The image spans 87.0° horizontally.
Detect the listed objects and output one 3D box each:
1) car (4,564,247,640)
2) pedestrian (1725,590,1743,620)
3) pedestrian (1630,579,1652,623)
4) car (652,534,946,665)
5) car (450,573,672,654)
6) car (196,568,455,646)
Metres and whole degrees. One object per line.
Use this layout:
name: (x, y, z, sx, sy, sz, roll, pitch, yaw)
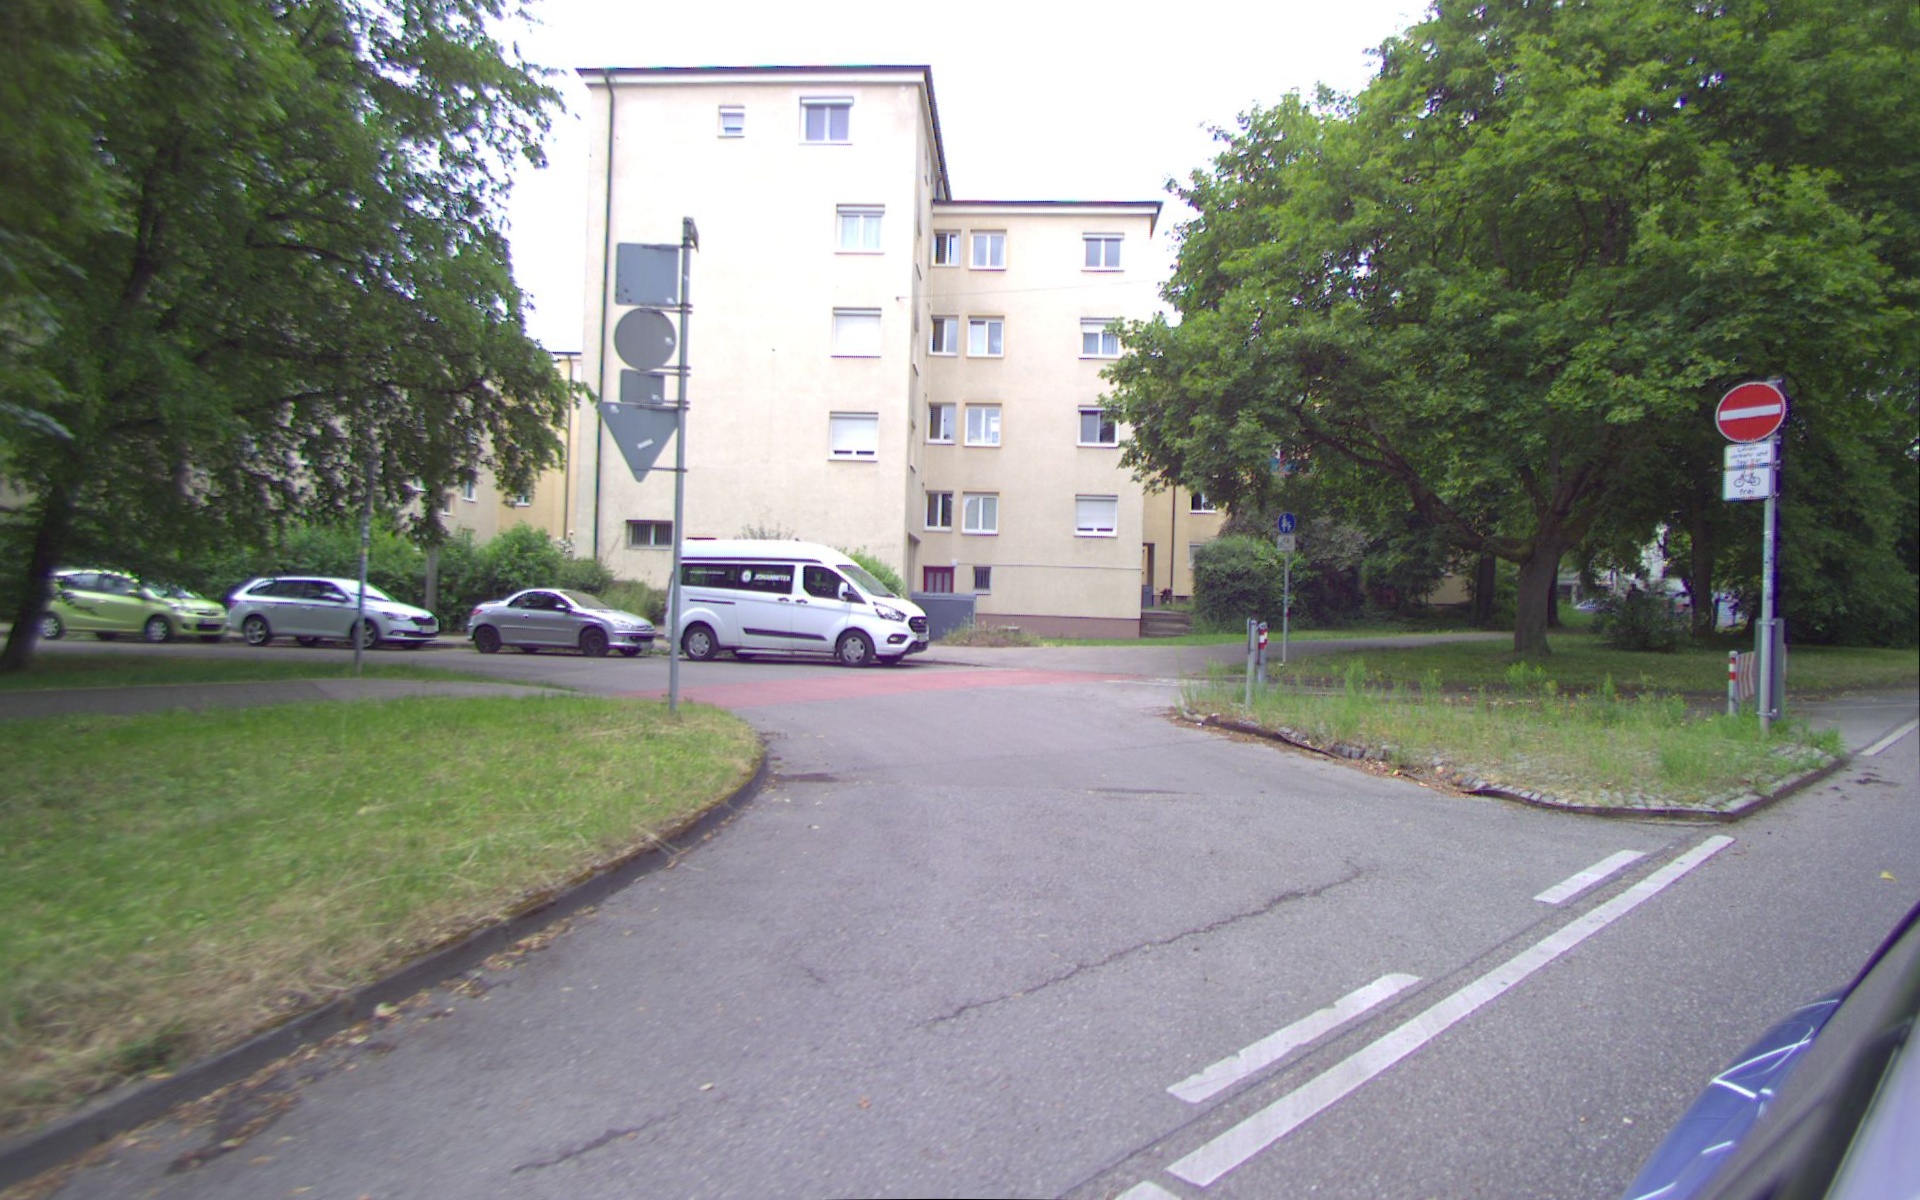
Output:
car: (-18.178, 0.027, 22.158, 3.927, 1.529, 1.799, 1, 0, 3)
pedestrian: (37.448, 0.231, 48.982, 0.647, 1.435, 0.641, 1, 1, 39)
pedestrian: (26.474, 0.040, 39.325, 0.647, 1.682, 0.641, 1, 1, 39)
car: (-3.120, -0.053, 19.862, 5.255, 2.328, 2.280, 1, 0, 18)
car: (-8.211, 0.248, 20.976, 3.937, 1.529, 1.794, 1, 0, 11)
car: (-13.449, 0.133, 21.601, 4.522, 1.529, 1.797, 1, 0, 5)
